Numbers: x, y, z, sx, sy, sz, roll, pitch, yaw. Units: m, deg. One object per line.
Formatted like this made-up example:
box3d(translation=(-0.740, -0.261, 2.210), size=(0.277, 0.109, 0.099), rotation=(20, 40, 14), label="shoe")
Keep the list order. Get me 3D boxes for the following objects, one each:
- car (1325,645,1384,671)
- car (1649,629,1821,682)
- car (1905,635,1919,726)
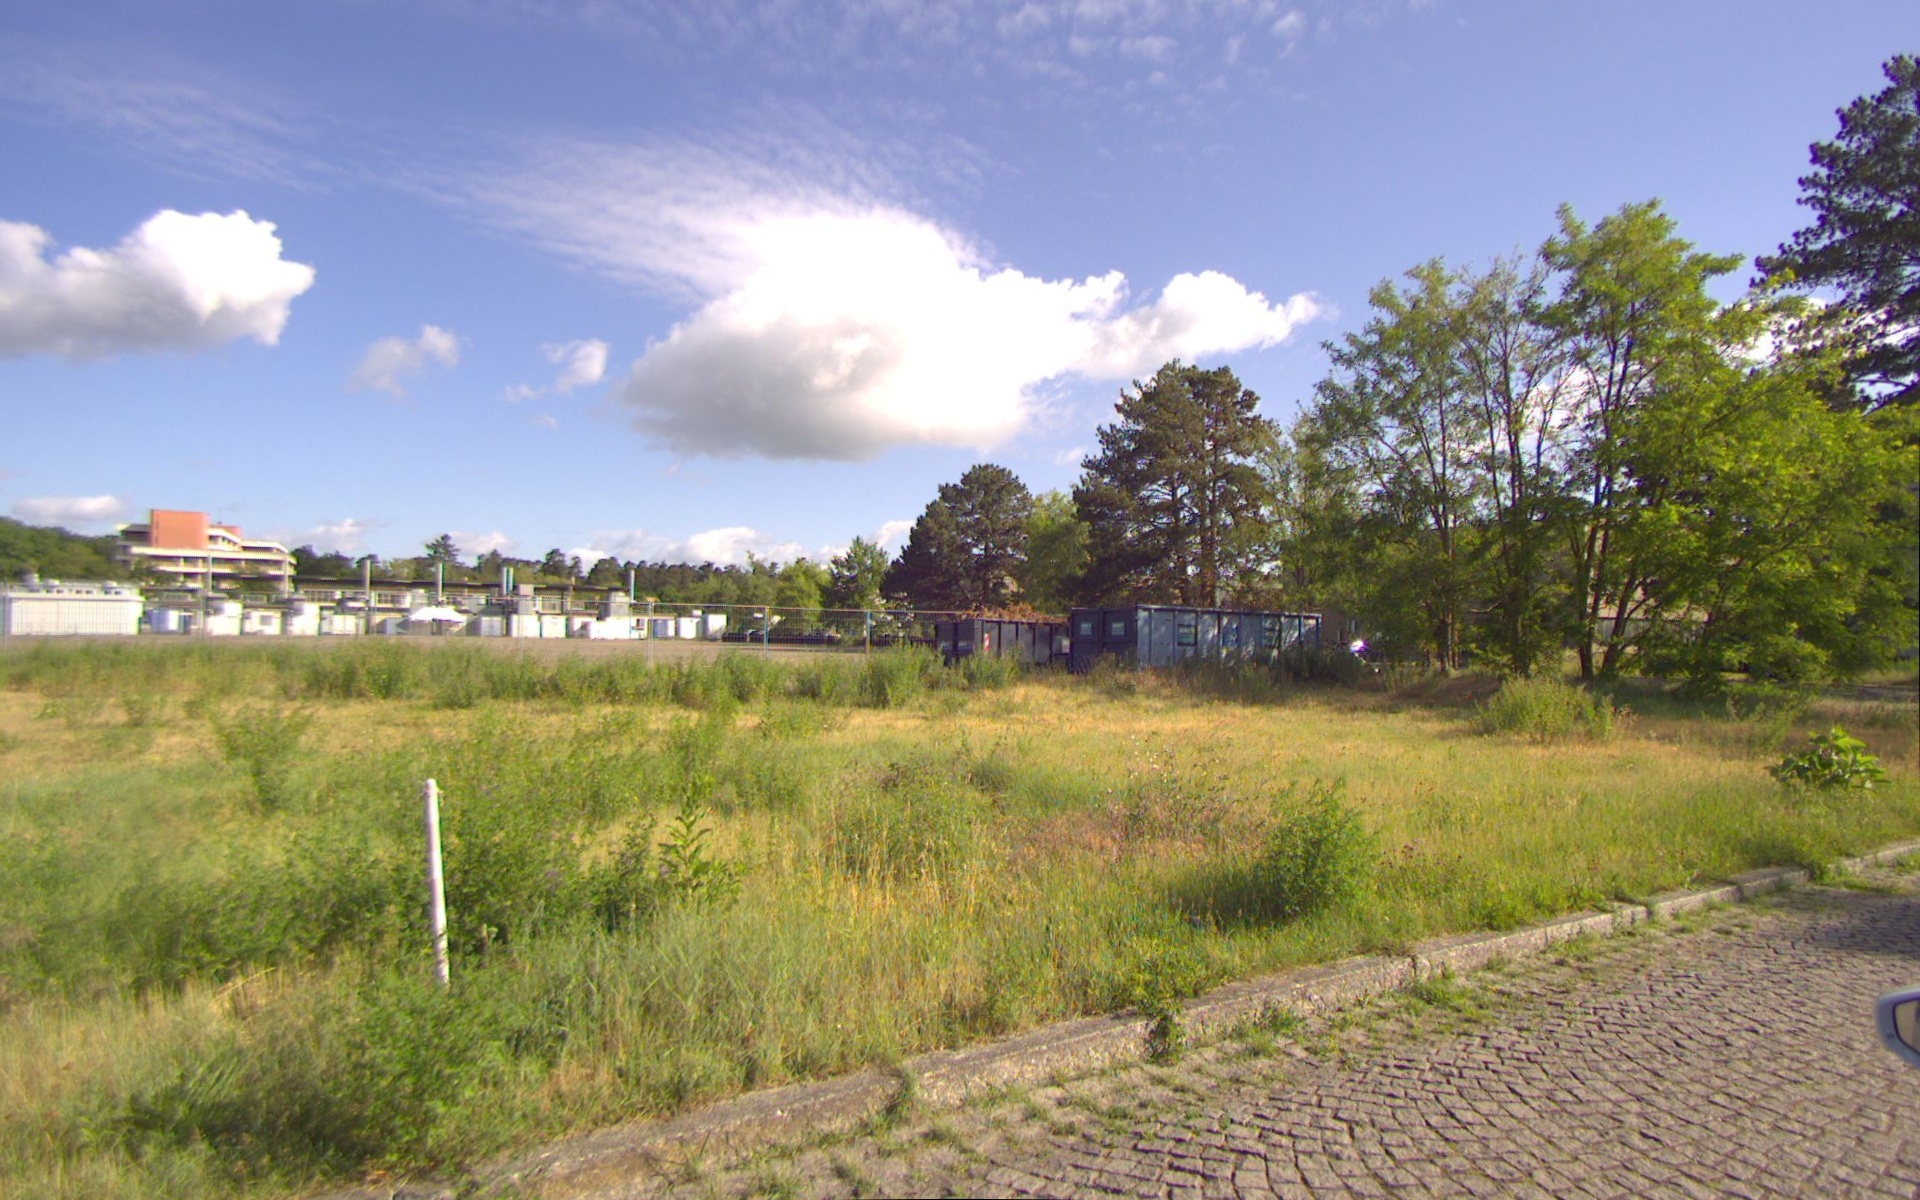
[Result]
box3d(translation=(28.259, 4.173, 71.914), size=(3.952, 1.802, 1.858), rotation=(2, -2, -28), label="car")
box3d(translation=(25.745, 1.793, 33.538), size=(1.985, 1.630, 4.127), rotation=(2, -2, -28), label="car")
box3d(translation=(18.042, 1.452, 16.258), size=(1.680, 1.548, 3.665), rotation=(2, 1, -32), label="car")
